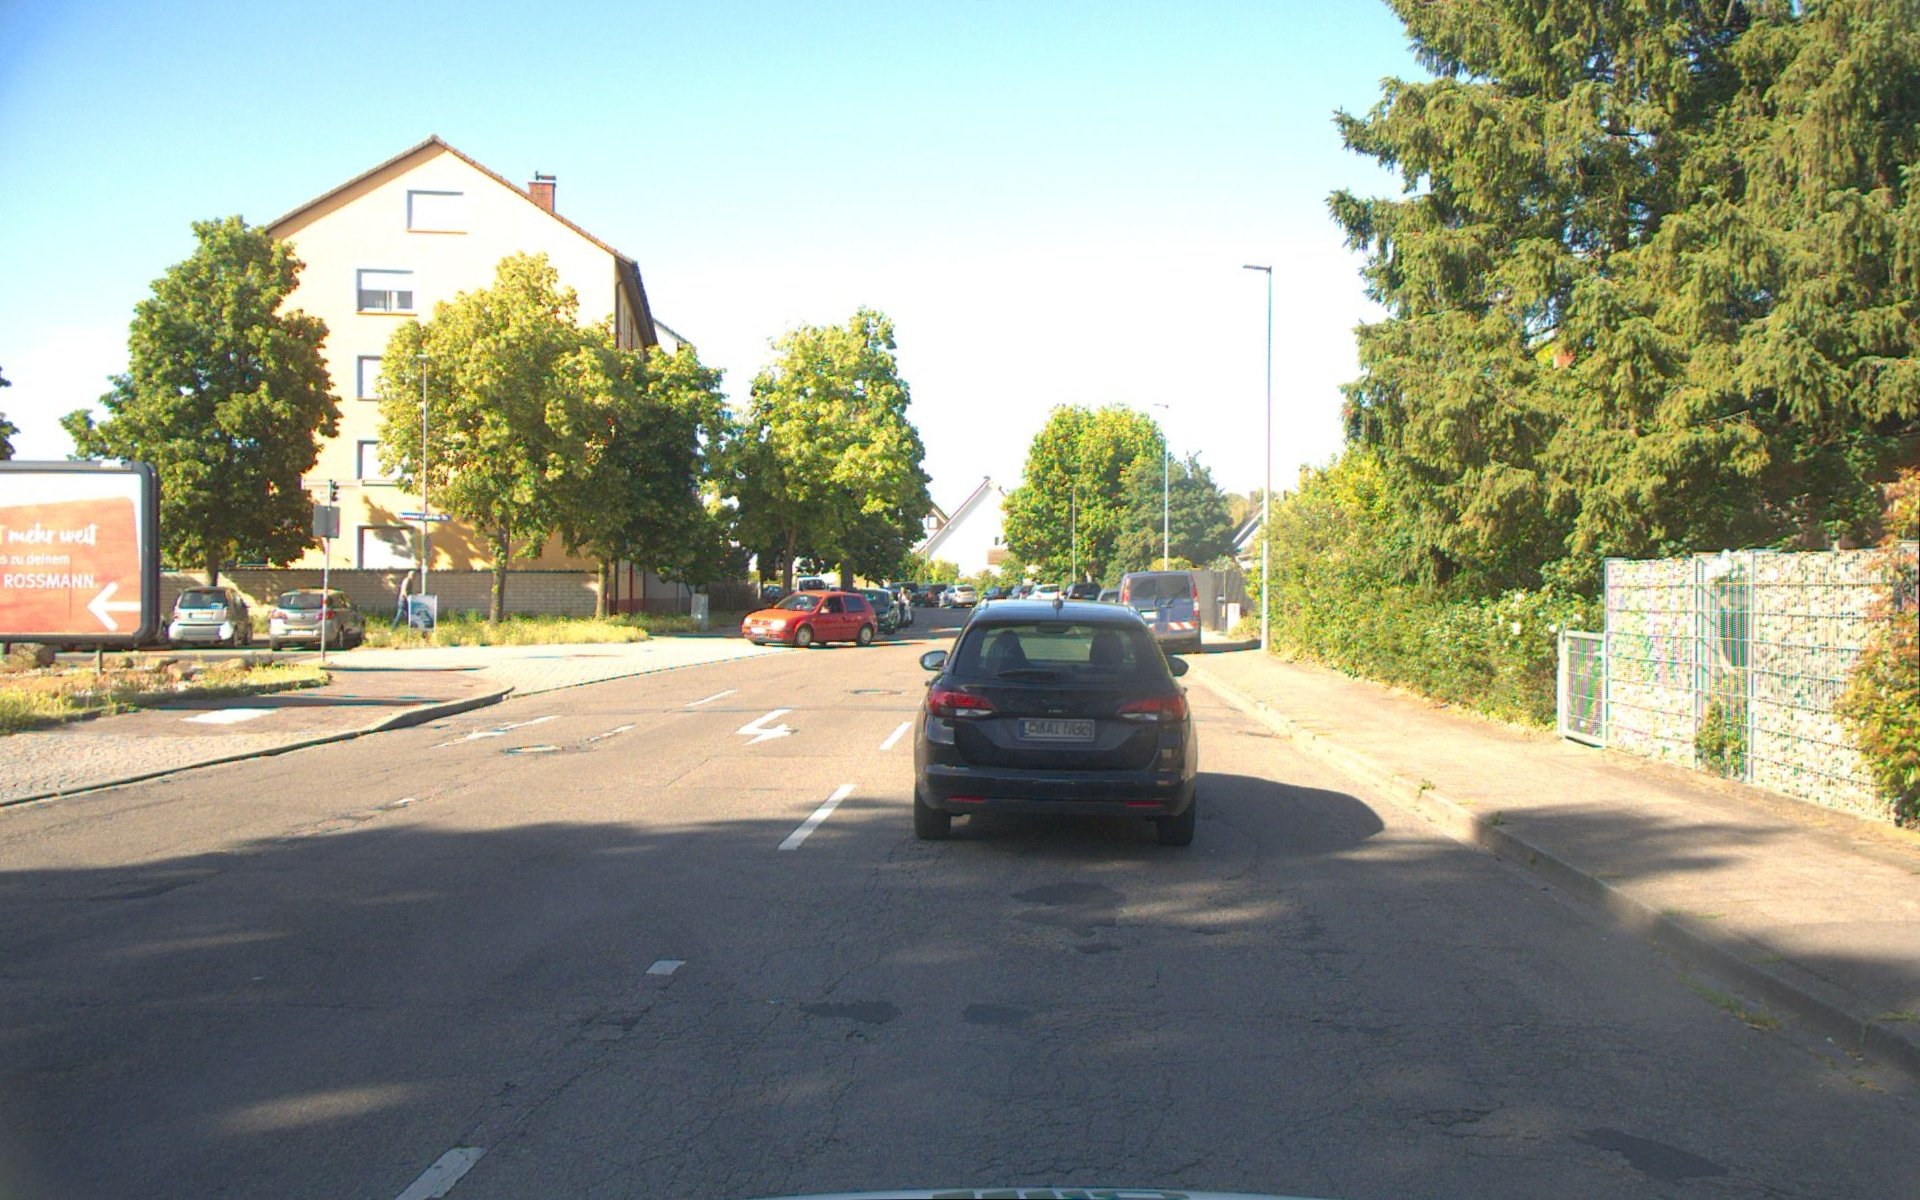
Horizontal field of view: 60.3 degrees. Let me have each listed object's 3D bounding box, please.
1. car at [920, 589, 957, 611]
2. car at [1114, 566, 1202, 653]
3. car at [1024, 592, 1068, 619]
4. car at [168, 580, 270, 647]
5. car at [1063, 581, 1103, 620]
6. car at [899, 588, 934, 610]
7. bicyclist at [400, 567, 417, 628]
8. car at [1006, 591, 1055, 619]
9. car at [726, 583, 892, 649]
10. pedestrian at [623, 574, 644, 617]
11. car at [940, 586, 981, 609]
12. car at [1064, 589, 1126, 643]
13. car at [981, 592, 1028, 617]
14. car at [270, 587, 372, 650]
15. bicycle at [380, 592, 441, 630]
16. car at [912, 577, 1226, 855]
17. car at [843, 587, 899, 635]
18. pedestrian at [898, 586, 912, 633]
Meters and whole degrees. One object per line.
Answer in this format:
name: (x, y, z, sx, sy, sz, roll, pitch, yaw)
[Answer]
car: (-1.549, 0.008, 117.645, 1.789, 1.561, 4.243, -1, 0, -14)
car: (4.667, 0.187, 39.585, 1.798, 1.941, 4.700, 0, 0, 3)
car: (4.832, 0.312, 93.296, 1.727, 1.506, 4.287, -1, 0, -7)
car: (-19.242, 0.323, 43.077, 1.668, 1.650, 3.869, 0, 0, -13)
car: (5.738, 0.017, 77.280, 1.741, 1.754, 4.296, -1, 0, 3)
car: (-3.278, -0.064, 123.393, 1.789, 1.561, 4.243, -1, 0, -14)
bicyclist: (-15.520, -0.074, 46.559, 0.384, 1.715, 0.378, 0, -2, -29)
car: (4.142, 0.291, 97.884, 1.878, 1.628, 4.281, -1, 0, -12)
car: (-3.900, 0.367, 43.454, 1.978, 1.595, 4.377, 2, 1, 35)
pedestrian: (-13.350, -0.187, 67.568, 0.671, 1.748, 0.720, -1, -2, 2)
car: (0.019, -0.160, 112.373, 1.789, 1.561, 4.243, -1, 0, -14)
car: (4.076, 0.450, 50.379, 1.728, 1.506, 4.994, -1, 1, 3)
car: (2.750, 0.263, 103.326, 1.971, 1.501, 4.279, -1, 0, -13)
car: (-16.360, 0.441, 42.514, 1.697, 1.489, 3.872, 0, 1, -10)
bicycle: (-15.472, 0.313, 46.567, 1.599, 1.029, 0.402, 0, -2, -30)
car: (0.701, 0.653, 11.369, 1.725, 1.517, 4.292, 1, 0, 3)
car: (-2.998, 0.398, 56.392, 1.666, 1.506, 4.051, 2, -1, -1)
pedestrian: (-2.073, 0.367, 62.823, 0.494, 1.792, 0.695, -1, -2, -1)
